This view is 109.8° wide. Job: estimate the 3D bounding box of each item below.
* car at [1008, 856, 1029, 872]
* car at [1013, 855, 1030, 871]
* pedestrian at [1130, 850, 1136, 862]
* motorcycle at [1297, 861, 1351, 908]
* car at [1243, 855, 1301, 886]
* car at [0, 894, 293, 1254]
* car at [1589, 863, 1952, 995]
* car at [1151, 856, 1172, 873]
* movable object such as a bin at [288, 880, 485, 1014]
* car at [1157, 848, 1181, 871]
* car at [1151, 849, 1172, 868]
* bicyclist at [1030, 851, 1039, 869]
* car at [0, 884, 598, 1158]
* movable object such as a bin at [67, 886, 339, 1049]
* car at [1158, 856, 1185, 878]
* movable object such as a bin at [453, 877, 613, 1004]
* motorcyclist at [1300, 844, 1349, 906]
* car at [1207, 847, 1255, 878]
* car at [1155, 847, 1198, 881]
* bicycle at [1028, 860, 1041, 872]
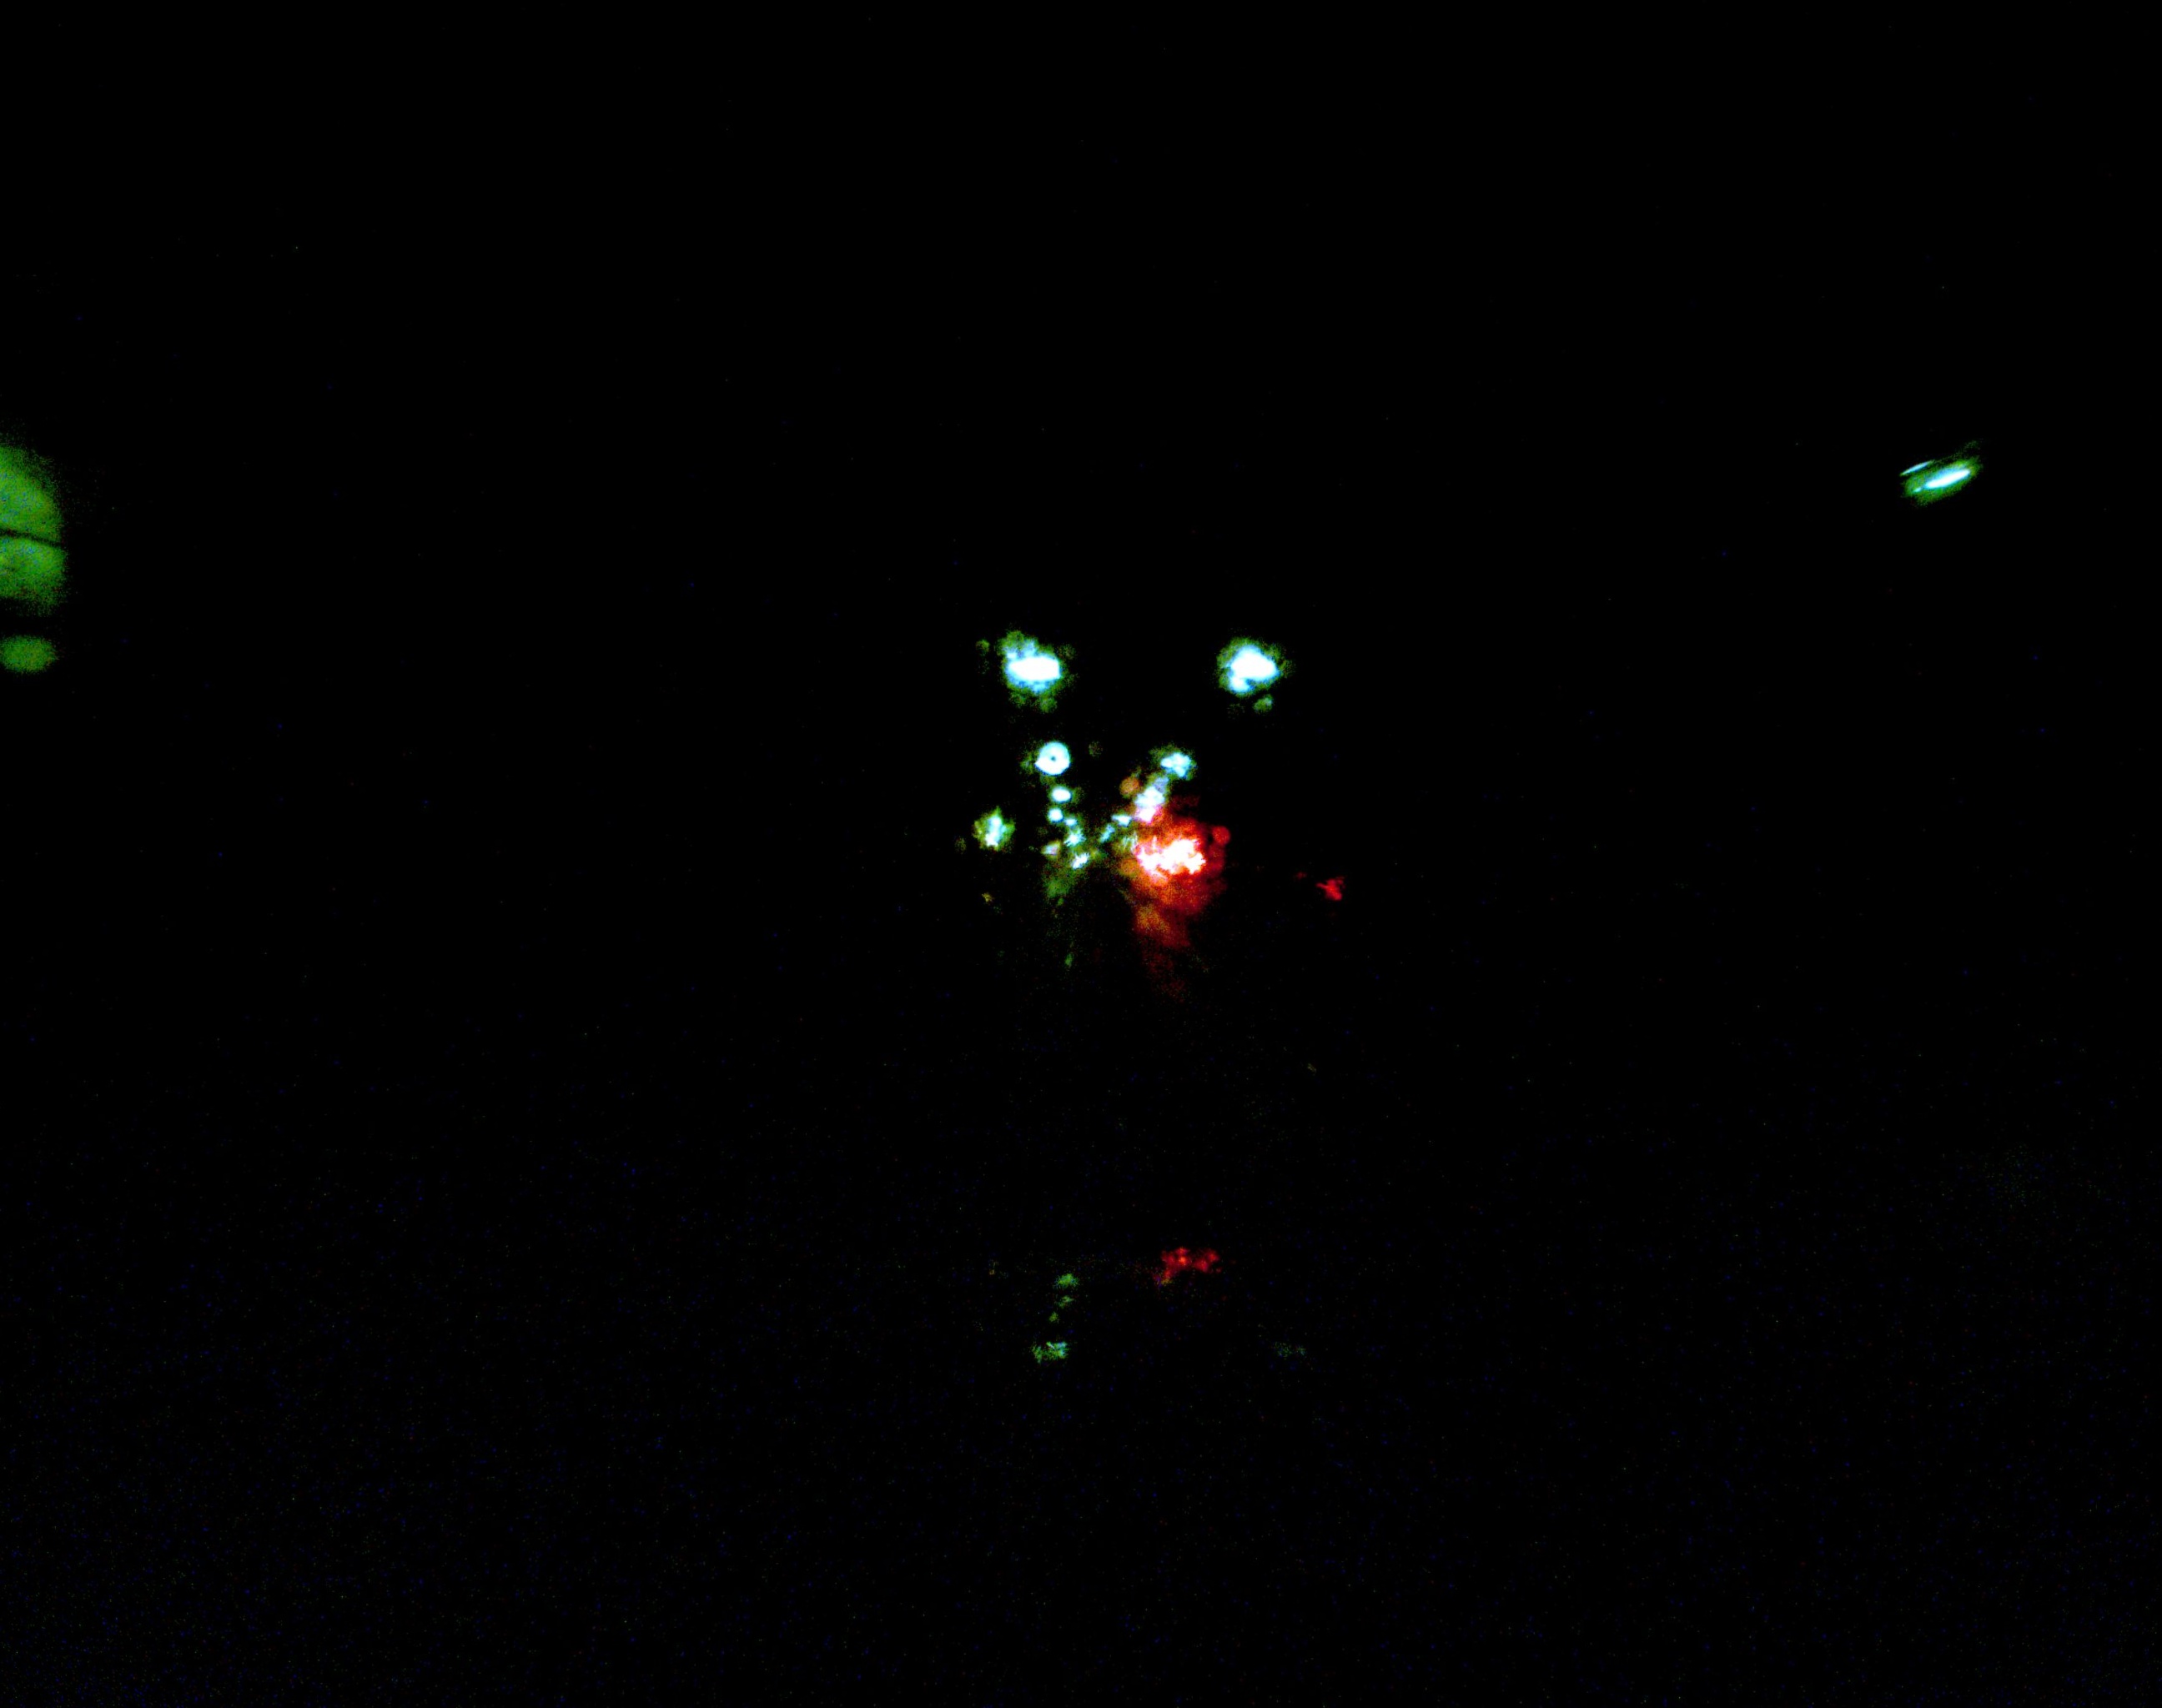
[{"bbox_3d":[-6.151,0.925,74.906,1.649,1.433,4.055,3,0,-1],"label":"car"},{"bbox_3d":[-6.323,0.909,80.529,1.652,1.516,3.579,3,0,-4],"label":"car"},{"bbox_3d":[7.910,0.318,115.639,0.716,1.764,0.671,-3,2,3],"label":"pedestrian"},{"bbox_3d":[7.189,0.884,22.582,0.819,1.223,1.999,4,2,-3],"label":"motorcycle"},{"bbox_3d":[9.657,0.798,38.707,1.770,1.398,4.140,-3,0,-1],"label":"car"},{"bbox_3d":[-6.128,1.040,3.179,1.802,1.480,3.864,0,1,43],"label":"car"},{"bbox_3d":[9.556,0.920,11.052,1.672,1.378,4.000,-3,1,1],"label":"car"},{"bbox_3d":[7.364,0.965,69.959,1.796,1.456,3.903,-1,0,5],"label":"car"},{"bbox_3d":[-8.117,1.036,8.983,1.413,1.399,1.025,-1,1,-19],"label":"movable object such as a bin"},{"bbox_3d":[7.333,0.465,63.475,1.930,1.868,4.639,1,0,6],"label":"car"},{"bbox_3d":[8.093,0.455,76.523,1.899,1.858,4.537,0,1,3],"label":"car"},{"bbox_3d":[-4.103,0.508,67.179,0.571,1.539,0.816,-2,1,14],"label":"bicyclist"},{"bbox_3d":[-6.278,1.093,6.061,3.797,1.450,1.765,-3,1,-42],"label":"car"},{"bbox_3d":[-8.628,1.055,7.572,1.025,1.399,1.418,0,1,6],"label":"movable object such as a bin"},{"bbox_3d":[6.362,0.907,53.732,1.655,1.470,4.206,1,0,4],"label":"car"},{"bbox_3d":[-6.738,1.015,9.451,1.353,1.399,1.025,-1,1,-19],"label":"movable object such as a bin"},{"bbox_3d":[7.211,0.594,22.561,0.921,1.730,1.135,4,2,-3],"label":"motorcyclist"},{"bbox_3d":[9.864,0.574,50.355,1.999,1.815,5.309,-4,0,0],"label":"car"},{"bbox_3d":[5.305,0.535,42.647,1.943,1.805,4.385,1,0,1],"label":"car"},{"bbox_3d":[-4.083,1.050,67.192,0.571,0.964,1.782,-2,1,14],"label":"bicycle"}]
